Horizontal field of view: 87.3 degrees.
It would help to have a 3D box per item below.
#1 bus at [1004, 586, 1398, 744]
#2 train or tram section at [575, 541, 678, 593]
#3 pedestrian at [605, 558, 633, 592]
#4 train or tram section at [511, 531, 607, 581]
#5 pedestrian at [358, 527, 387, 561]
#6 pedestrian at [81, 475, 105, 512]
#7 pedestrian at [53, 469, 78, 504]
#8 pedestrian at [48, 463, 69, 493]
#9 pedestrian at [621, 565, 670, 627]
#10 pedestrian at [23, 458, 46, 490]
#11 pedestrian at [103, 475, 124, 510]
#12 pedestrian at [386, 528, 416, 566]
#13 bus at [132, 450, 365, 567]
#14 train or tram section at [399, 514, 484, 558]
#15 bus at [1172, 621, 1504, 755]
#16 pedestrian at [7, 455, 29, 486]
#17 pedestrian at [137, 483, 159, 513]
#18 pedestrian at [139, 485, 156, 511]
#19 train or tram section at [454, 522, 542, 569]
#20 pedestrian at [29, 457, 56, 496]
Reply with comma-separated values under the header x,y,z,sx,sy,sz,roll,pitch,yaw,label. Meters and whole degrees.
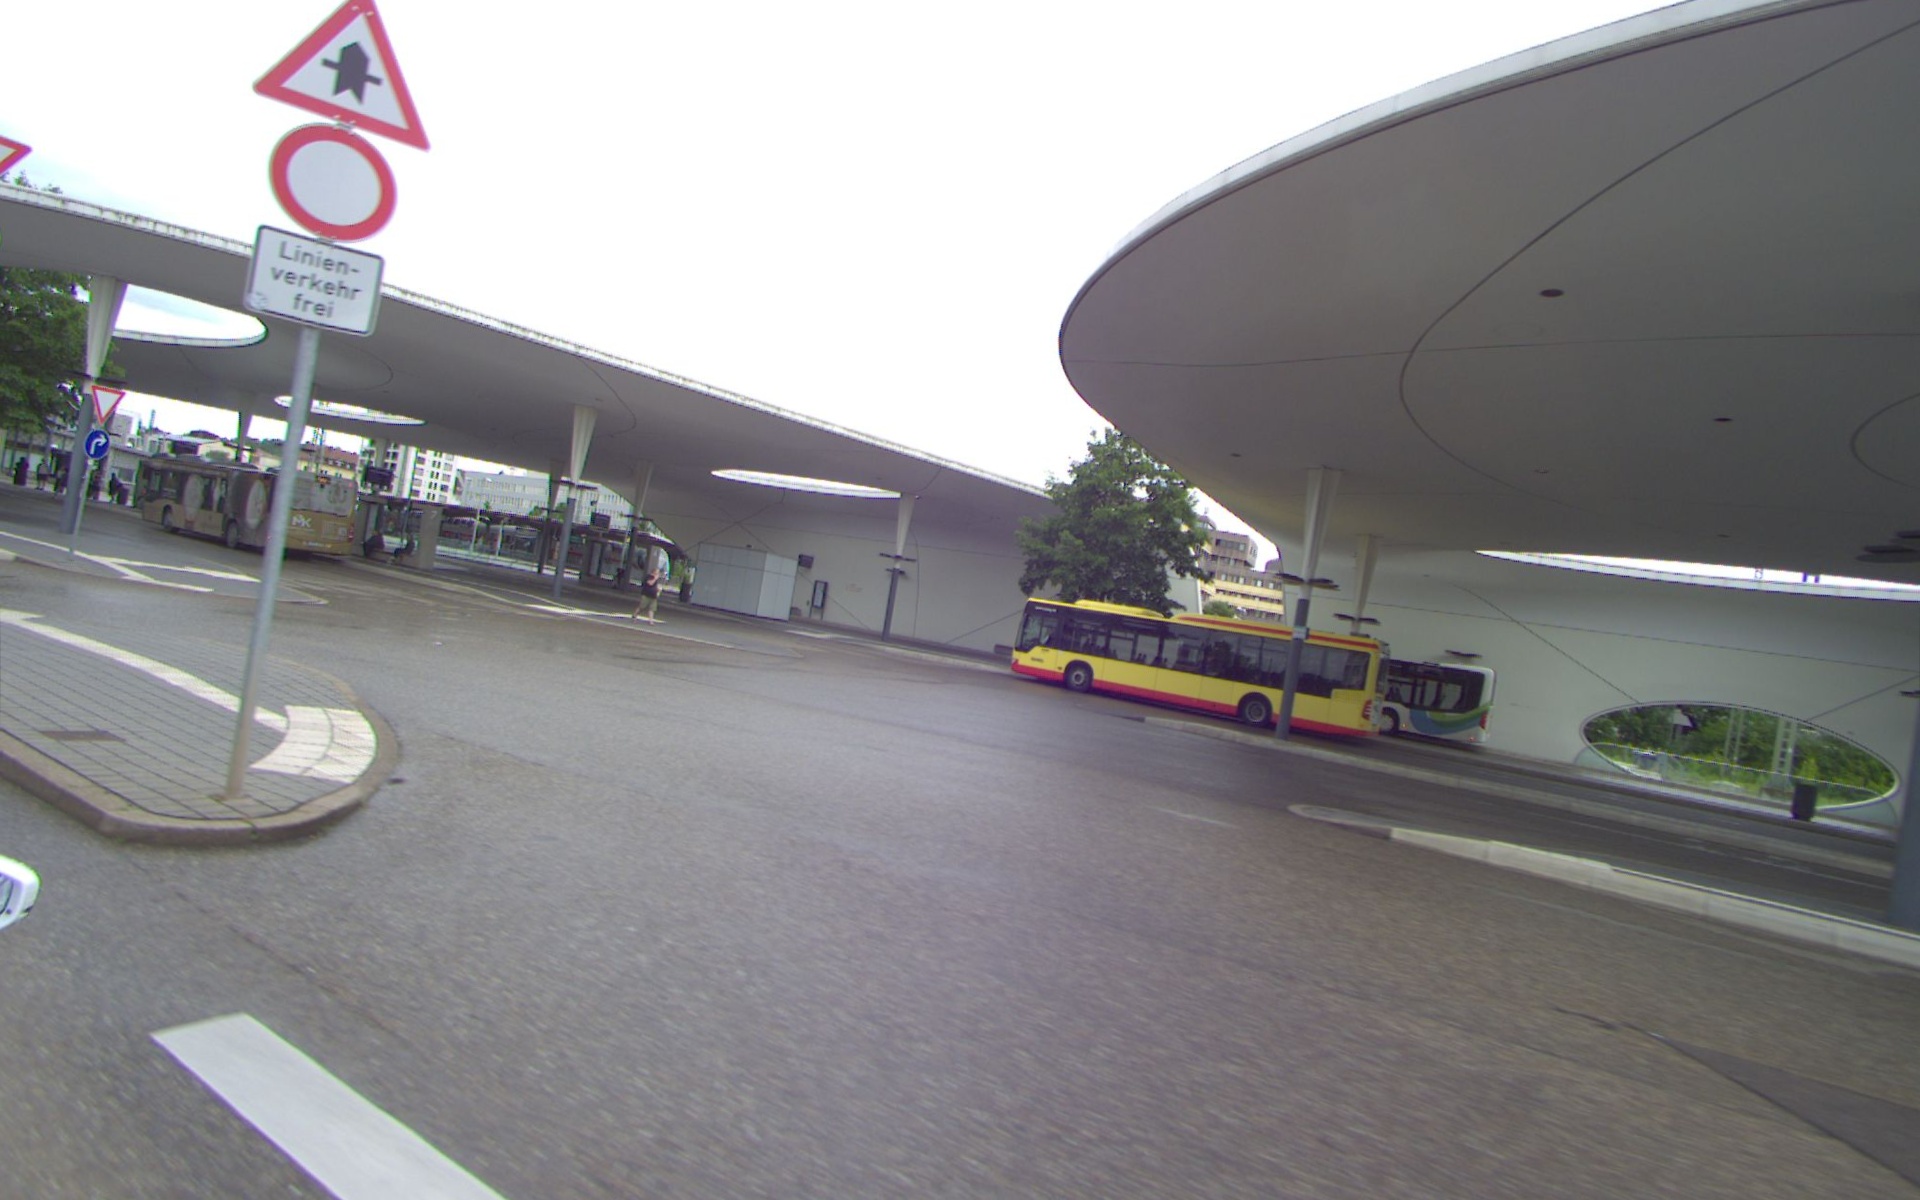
x,y,z,sx,sy,sz,roll,pitch,yaw,label
7.484,1.938,32.811,11.938,3.295,2.794,7,-1,31,bus
-34.578,-3.451,104.140,11.423,3.715,3.142,8,-4,32,train or tram section
-17.675,-1.303,52.138,0.892,1.603,0.797,8,-2,27,pedestrian
-44.061,-4.876,110.311,11.423,3.718,3.142,9,-4,32,train or tram section
-24.235,-2.313,41.496,0.790,1.241,0.626,8,0,-40,pedestrian
-44.250,-5.441,51.355,0.603,1.711,0.562,9,0,26,pedestrian
-45.409,-5.759,51.087,0.699,1.601,0.600,7,0,24,pedestrian
-54.228,-7.347,60.503,0.574,1.593,0.559,9,-5,-22,pedestrian
-9.316,-0.118,29.824,1.002,1.705,0.719,8,2,7,pedestrian
-54.650,-7.450,59.400,0.574,1.732,0.559,9,-5,-22,pedestrian
-49.041,-6.213,58.295,0.584,1.896,0.711,9,0,-28,pedestrian
-22.429,-2.128,40.383,0.790,1.394,0.626,8,1,-40,pedestrian
-27.011,-3.560,37.834,11.890,3.081,2.725,9,0,33,bus
-63.405,-7.864,122.845,12.119,3.696,3.142,9,-4,32,train or tram section
14.651,3.299,39.936,11.774,3.297,2.468,8,0,33,bus
-54.920,-7.544,58.647,0.575,1.593,0.558,10,-5,-28,pedestrian
-43.378,-5.435,53.747,0.603,1.461,0.561,8,0,30,pedestrian
-43.902,-5.503,54.366,0.455,1.265,0.558,9,0,-28,pedestrian
-53.581,-6.348,116.479,11.423,3.696,3.142,9,-4,32,train or tram section
-52.071,-7.012,57.086,0.719,2.033,0.665,10,-5,-31,pedestrian
